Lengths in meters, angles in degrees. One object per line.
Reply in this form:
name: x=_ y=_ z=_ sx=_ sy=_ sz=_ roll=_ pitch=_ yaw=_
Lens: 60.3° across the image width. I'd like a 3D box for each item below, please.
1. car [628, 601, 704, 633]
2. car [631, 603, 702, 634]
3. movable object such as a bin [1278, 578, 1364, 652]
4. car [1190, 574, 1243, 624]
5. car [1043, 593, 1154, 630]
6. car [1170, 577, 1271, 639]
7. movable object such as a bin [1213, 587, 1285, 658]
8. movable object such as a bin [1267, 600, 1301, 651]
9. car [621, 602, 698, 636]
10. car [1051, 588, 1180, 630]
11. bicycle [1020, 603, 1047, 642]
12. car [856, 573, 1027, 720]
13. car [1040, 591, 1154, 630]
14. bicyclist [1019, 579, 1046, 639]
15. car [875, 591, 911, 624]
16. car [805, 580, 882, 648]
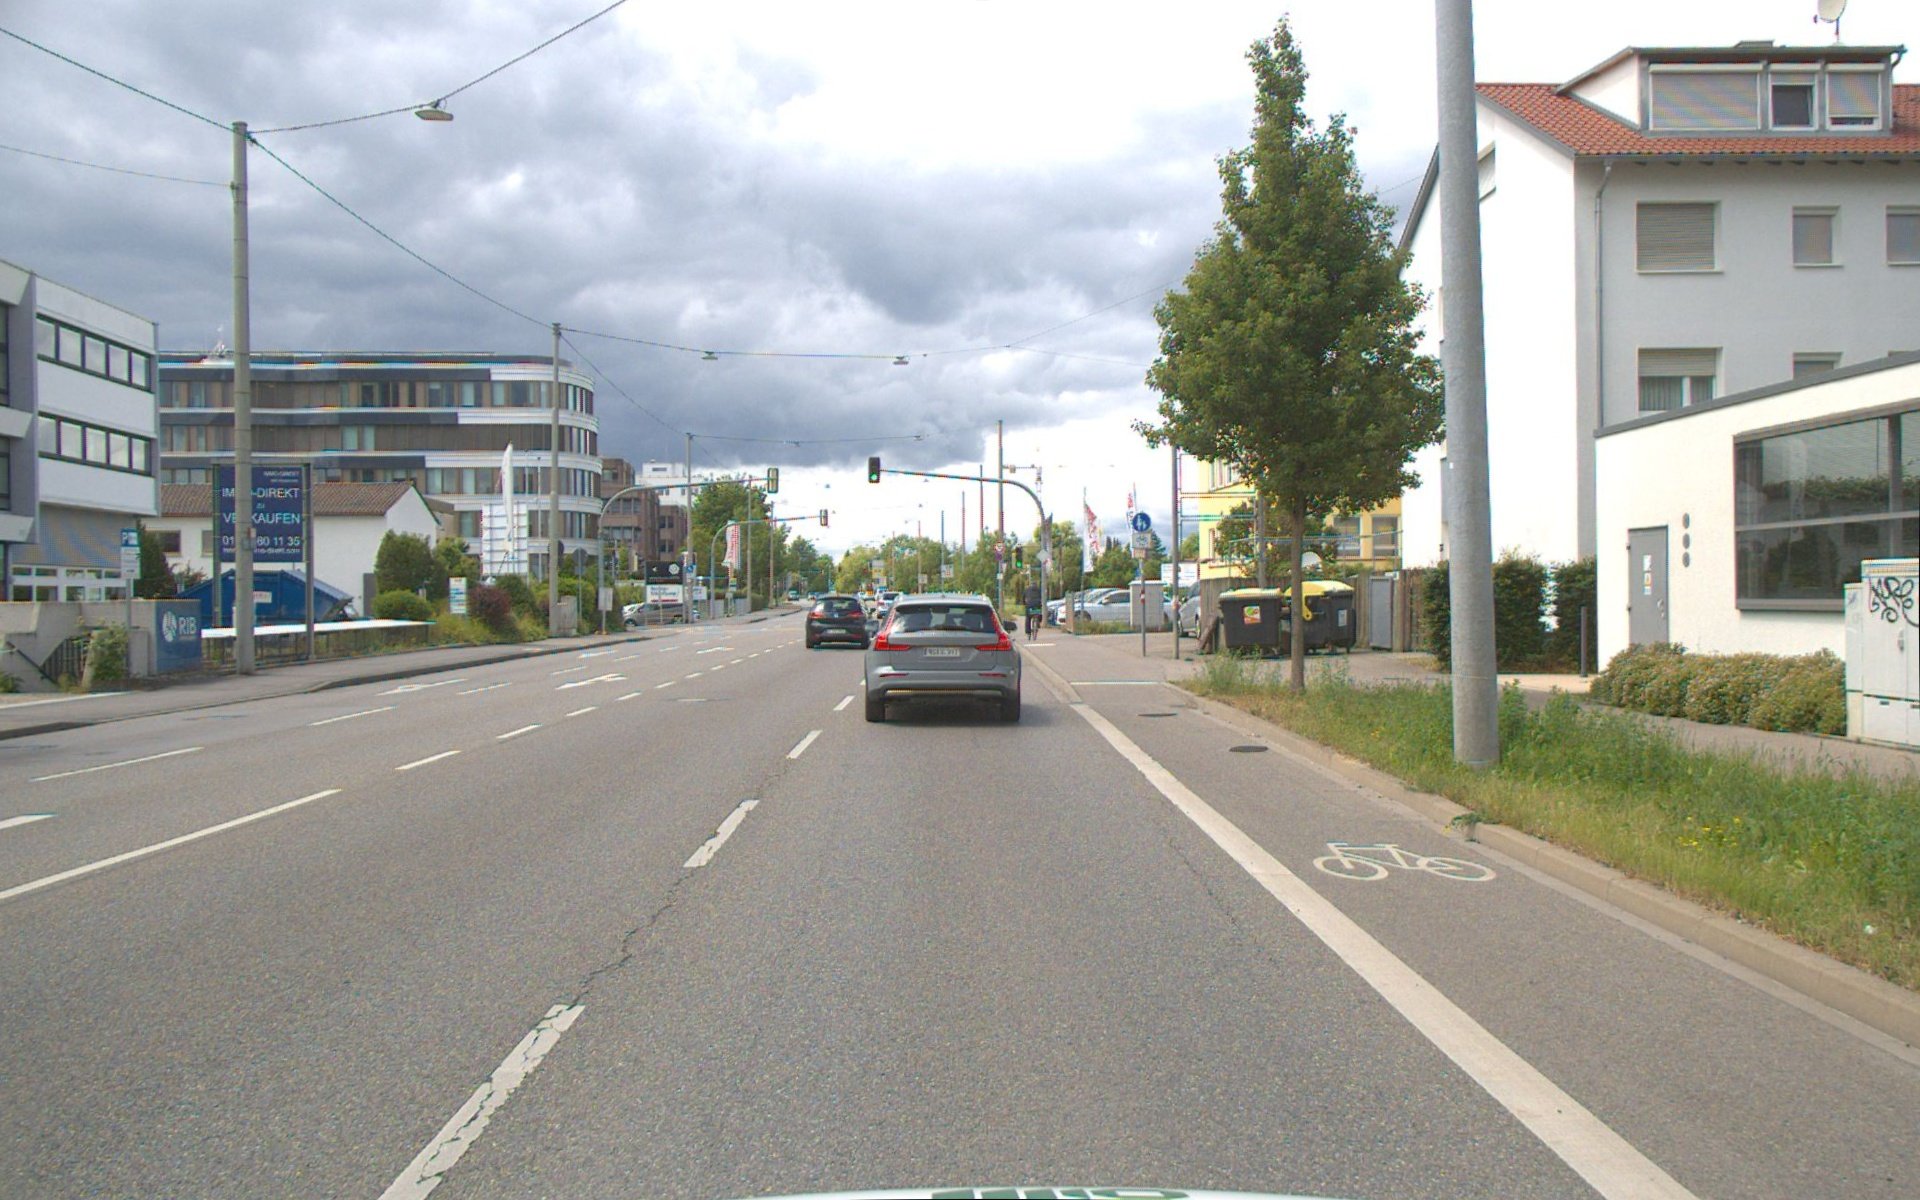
car: x=-17.296 y=1.004 z=97.475 sx=4.145 sy=1.411 sz=1.981 roll=-6 pitch=-1 yaw=-7
car: x=-17.699 y=1.117 z=100.007 sx=3.910 sy=1.393 sz=1.847 roll=-6 pitch=-1 yaw=-4
movable object such as a bin: x=7.255 y=0.313 z=33.245 sx=1.297 sy=1.461 sz=1.246 roll=-2 pitch=-2 yaw=36
car: x=10.059 y=0.004 z=64.882 sx=1.934 sy=1.853 sz=5.034 roll=-1 pitch=-1 yaw=9
car: x=5.631 y=0.468 z=67.747 sx=4.282 sy=1.428 sz=1.987 roll=1 pitch=0 yaw=-3
car: x=6.991 y=0.204 z=44.796 sx=1.837 sy=1.572 sz=4.519 roll=-1 pitch=0 yaw=-2
movable object such as a bin: x=5.759 y=0.455 z=32.853 sx=1.291 sy=1.385 sz=1.252 roll=-1 pitch=-2 yaw=15
movable object such as a bin: x=6.623 y=0.523 z=33.804 sx=0.557 sy=1.044 sz=0.404 roll=-2 pitch=-2 yaw=36
car: x=-16.736 y=1.027 z=92.342 sx=4.019 sy=1.421 sz=1.904 roll=-6 pitch=1 yaw=-9
car: x=5.801 y=0.320 z=61.980 sx=4.602 sy=1.519 sz=2.045 roll=0 pitch=0 yaw=-2
bicycle: x=2.145 y=0.653 z=48.552 sx=0.625 sy=1.081 sz=1.977 roll=-4 pitch=0 yaw=-1
car: x=-0.214 y=0.546 z=20.368 sx=1.857 sy=1.581 sz=3.999 roll=1 pitch=-1 yaw=0
car: x=5.811 y=0.433 z=70.609 sx=4.702 sy=1.506 sz=2.032 roll=1 pitch=0 yaw=0
bicyclist: x=2.115 y=0.250 z=48.551 sx=0.625 sy=1.704 sz=0.890 roll=-4 pitch=0 yaw=-1
car: x=-3.776 y=0.446 z=93.201 sx=1.953 sy=1.724 sz=3.998 roll=1 pitch=-1 yaw=-2
car: x=-3.157 y=0.393 z=45.280 sx=1.954 sy=1.747 sz=3.997 roll=2 pitch=-1 yaw=-3
